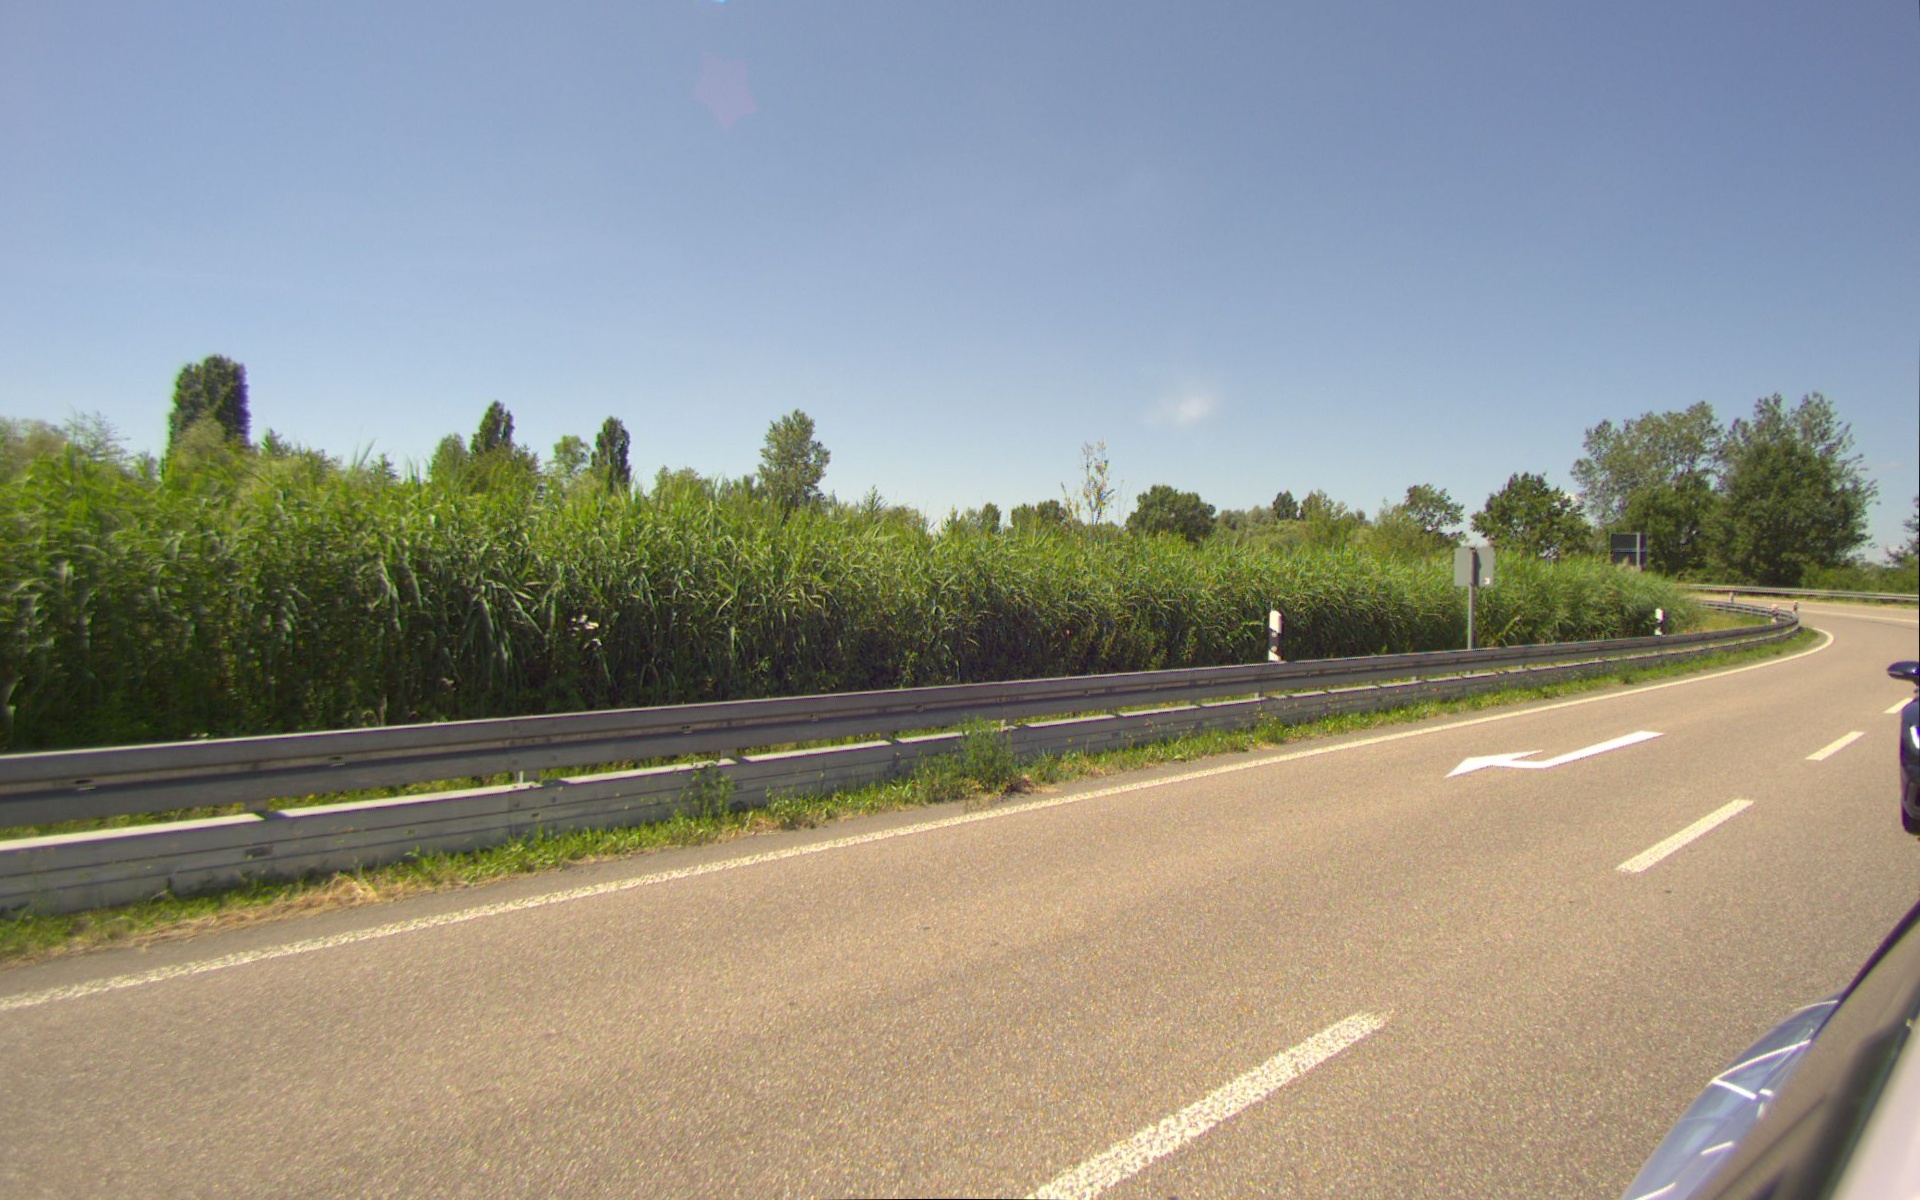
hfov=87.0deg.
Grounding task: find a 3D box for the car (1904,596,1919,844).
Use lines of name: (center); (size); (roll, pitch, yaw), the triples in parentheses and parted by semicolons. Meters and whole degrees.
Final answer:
car: (7.531, 0.678, 6.509); (3.931, 1.427, 1.759); (-1, 0, -41)
